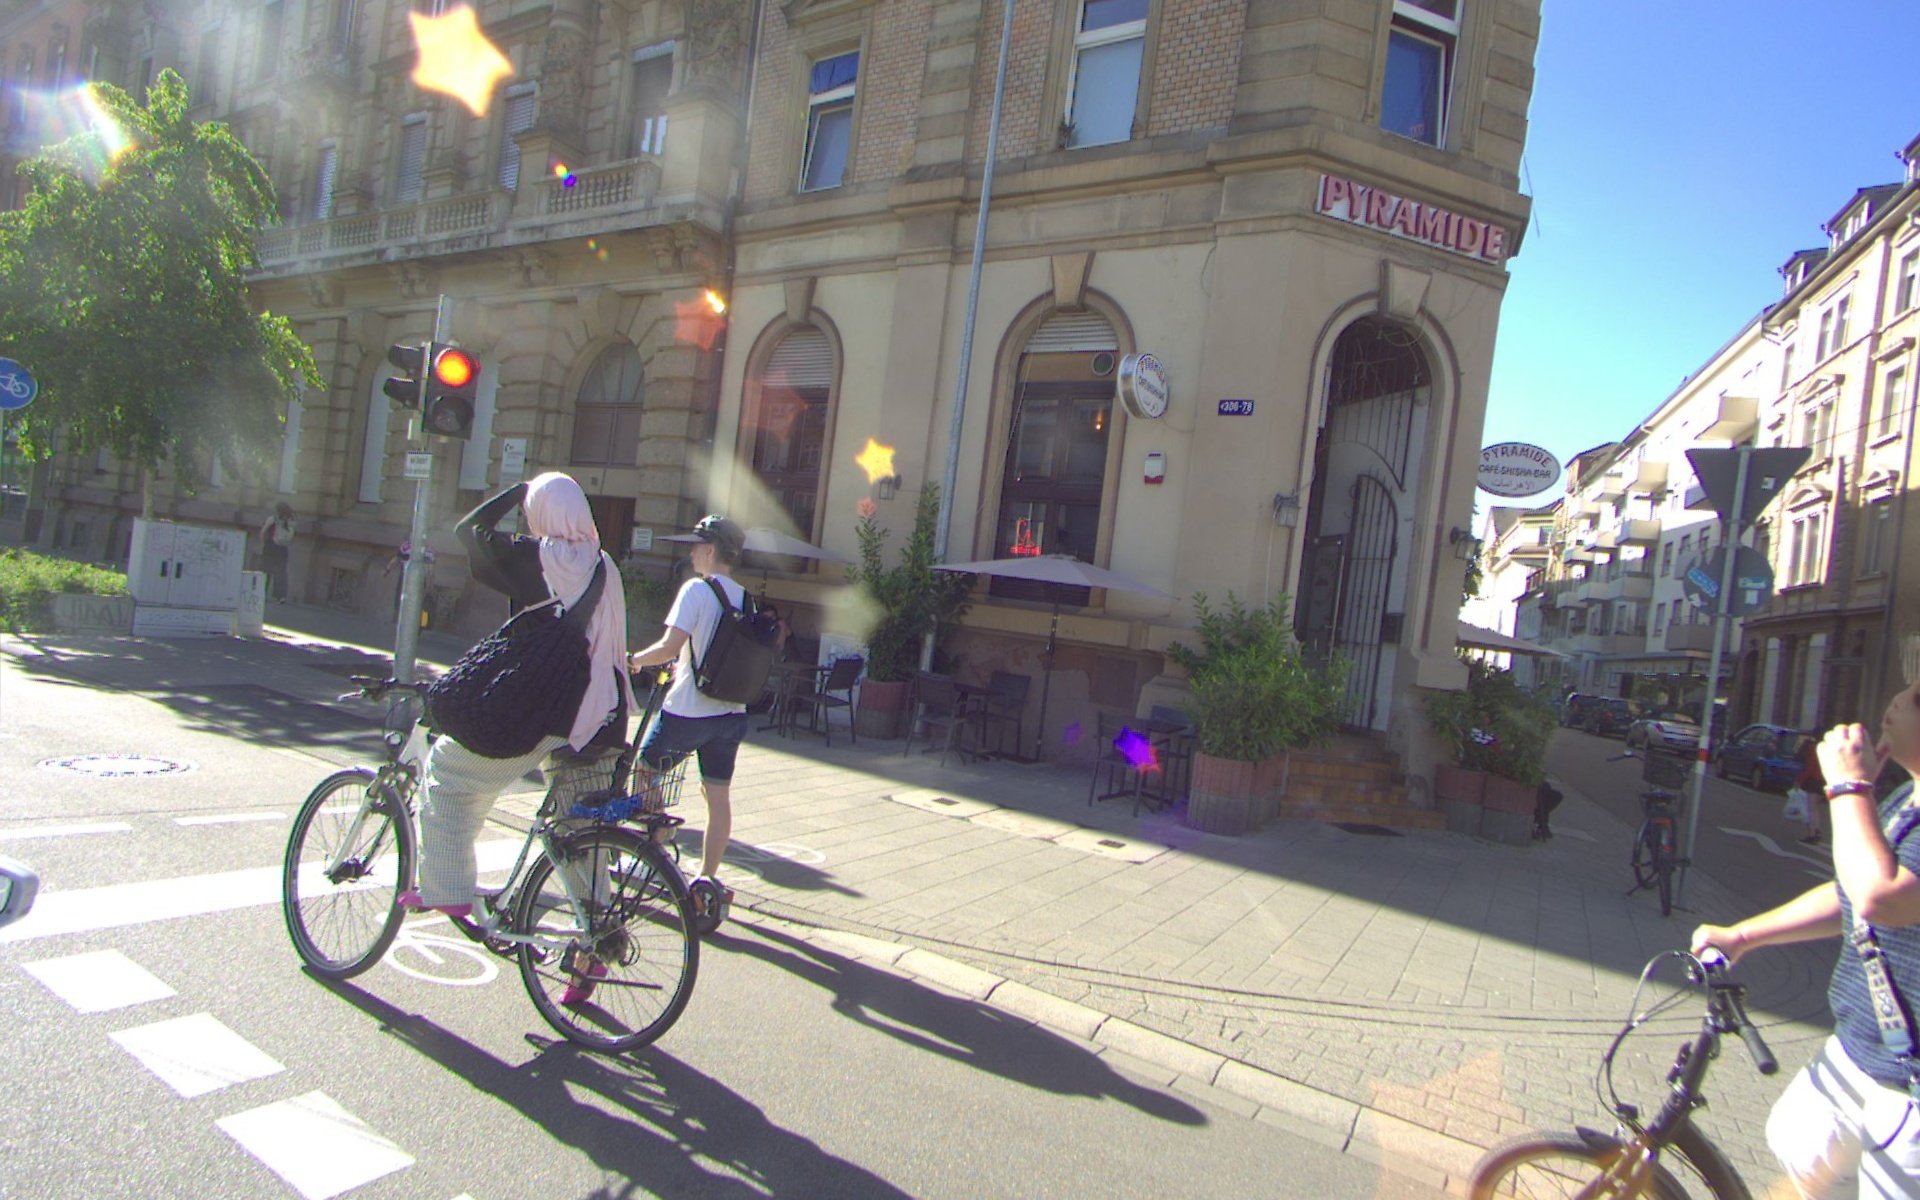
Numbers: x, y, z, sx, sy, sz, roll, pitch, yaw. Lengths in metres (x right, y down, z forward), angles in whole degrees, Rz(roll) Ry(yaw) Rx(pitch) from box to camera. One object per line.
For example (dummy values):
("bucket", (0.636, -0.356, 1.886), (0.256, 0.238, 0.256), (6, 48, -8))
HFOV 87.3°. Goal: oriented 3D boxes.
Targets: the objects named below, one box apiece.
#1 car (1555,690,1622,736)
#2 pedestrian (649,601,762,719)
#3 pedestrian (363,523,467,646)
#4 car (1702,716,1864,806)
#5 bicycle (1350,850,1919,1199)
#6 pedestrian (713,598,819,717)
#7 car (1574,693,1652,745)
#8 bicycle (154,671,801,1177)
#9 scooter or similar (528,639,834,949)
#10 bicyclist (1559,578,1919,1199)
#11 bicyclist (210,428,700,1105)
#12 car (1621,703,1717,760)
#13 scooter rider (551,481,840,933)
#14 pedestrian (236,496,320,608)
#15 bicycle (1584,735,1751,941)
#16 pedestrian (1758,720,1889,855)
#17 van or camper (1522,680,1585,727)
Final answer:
("car", (25.896, 4.629, 41.566), (1.599, 1.424, 3.439), (9, 1, 22))
("pedestrian", (-2.862, 0.672, 11.312), (0.867, 1.197, 0.718), (6, 0, 31))
("pedestrian", (-8.297, -0.232, 15.311), (1.098, 1.714, 0.967), (7, 2, 41))
("car", (18.395, 3.532, 22.690), (1.587, 1.428, 3.703), (7, -1, 21))
("bicycle", (1.903, 1.291, 2.069), (1.920, 1.018, 0.829), (7, -1, 32))
("pedestrian", (-2.333, 0.691, 12.103), (0.873, 1.298, 0.726), (6, 0, 31))
("car", (23.868, 4.305, 36.881), (1.599, 1.424, 3.439), (9, 1, 22))
("bicycle", (-1.590, 0.885, 3.285), (1.917, 1.018, 0.726), (7, -1, 24))
("scooter or similar", (-1.322, 0.856, 4.788), (1.130, 1.172, 0.647), (7, -1, 26))
("bicyclist", (1.906, 0.916, 2.099), (0.972, 1.747, 0.853), (7, -1, 32))
("bicyclist", (-1.643, 0.454, 3.337), (1.071, 1.839, 0.726), (7, -1, 23))
("car", (21.468, 3.956, 30.607), (1.600, 1.337, 3.389), (7, -1, 24))
("scooter rider", (-1.244, 0.460, 4.781), (0.882, 1.888, 0.663), (7, -1, 27))
("pedestrian", (-12.789, -0.897, 18.869), (1.081, 1.945, 0.889), (7, 2, 37))
("bicycle", (5.779, 1.822, 8.179), (0.804, 1.247, 2.211), (11, 2, 38))
("pedestrian", (11.646, 2.505, 13.605), (0.891, 1.592, 0.835), (7, -1, 4))
("van or camper", (30.207, 5.218, 51.314), (1.850, 1.867, 4.545), (9, 1, 22))
